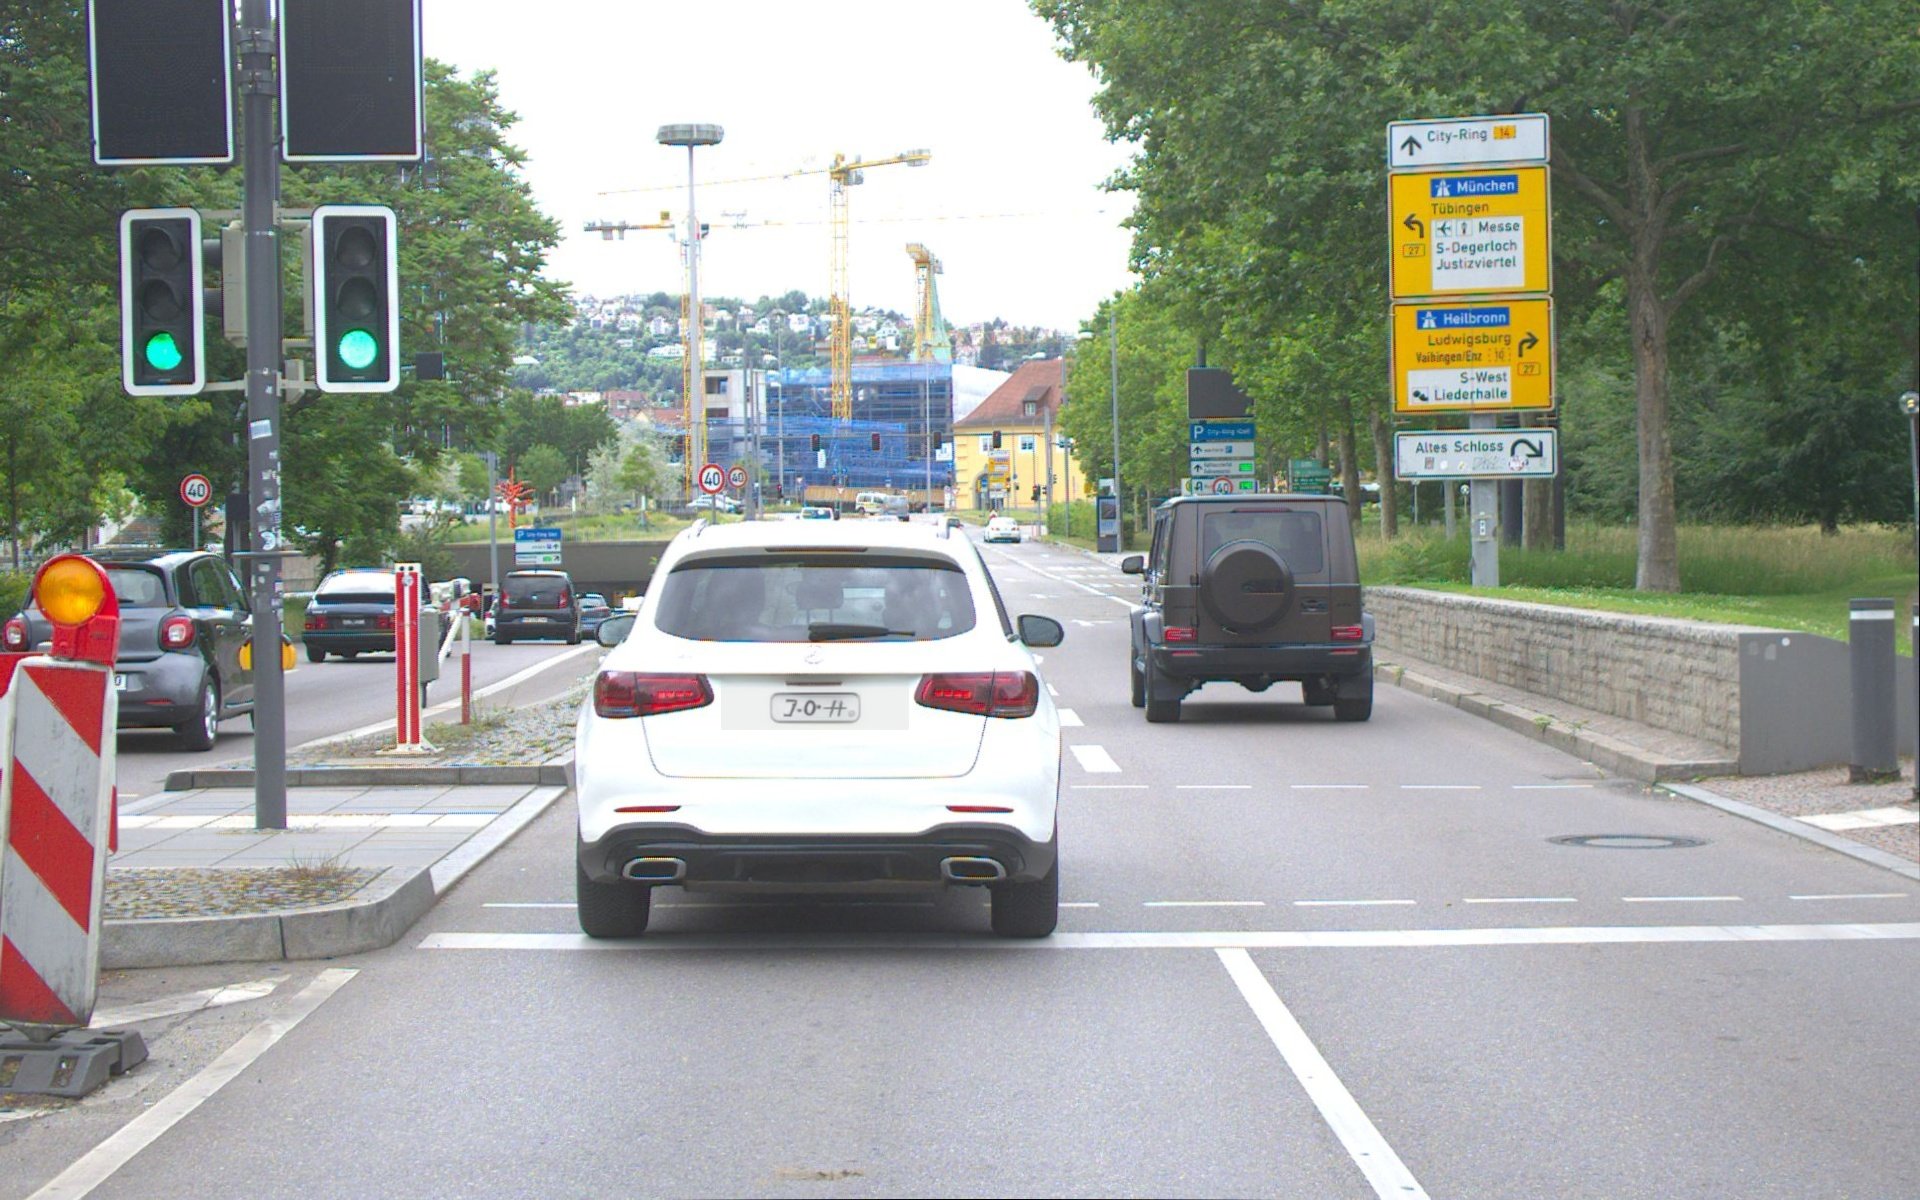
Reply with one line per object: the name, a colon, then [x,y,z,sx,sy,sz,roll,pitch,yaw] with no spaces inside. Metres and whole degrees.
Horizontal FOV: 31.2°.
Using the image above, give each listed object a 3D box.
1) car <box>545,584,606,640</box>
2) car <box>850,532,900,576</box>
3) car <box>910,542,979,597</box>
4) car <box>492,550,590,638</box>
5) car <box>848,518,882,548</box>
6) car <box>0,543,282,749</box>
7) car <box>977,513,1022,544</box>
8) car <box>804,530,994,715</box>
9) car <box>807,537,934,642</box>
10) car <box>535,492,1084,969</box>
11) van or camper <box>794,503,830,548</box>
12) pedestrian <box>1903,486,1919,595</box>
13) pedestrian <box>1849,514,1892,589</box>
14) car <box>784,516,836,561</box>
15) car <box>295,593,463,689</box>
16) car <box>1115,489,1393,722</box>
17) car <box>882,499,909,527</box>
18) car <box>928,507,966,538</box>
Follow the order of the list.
car: [-11.585,0.348,103.722,1.719,1.579,4.001,2,1,-5]
car: [-3.612,-1.926,145.721,1.993,1.774,4.000,2,0,-3]
car: [-0.516,-0.970,110.471,1.993,1.656,4.000,2,0,-3]
car: [-8.427,-0.143,69.401,1.719,1.673,4.001,2,1,-4]
car: [-5.285,-3.706,190.914,1.719,1.579,4.001,2,1,-4]
car: [-6.467,0.334,27.175,1.627,1.504,3.540,1,0,-2]
car: [2.202,-3.993,193.037,1.993,1.612,4.001,2,0,-7]
car: [-0.604,0.210,33.018,1.672,1.622,4.000,2,0,-2]
car: [-1.468,-0.191,54.883,1.922,1.596,4.001,0,1,-3]
car: [-0.646,0.469,14.441,1.940,1.678,4.000,2,0,-3]
van or camper: [-7.957,-3.998,184.877,1.922,2.312,4.000,0,-1,-3]
pedestrian: [15.597,-0.932,54.626,0.896,1.727,0.969,2,1,-2]
pedestrian: [16.458,-0.870,62.154,0.582,1.320,0.542,2,-1,-1]
car: [-6.185,-2.519,142.001,1.993,1.751,4.000,2,0,-1]
car: [-8.673,0.583,51.577,1.719,1.288,4.000,2,1,1]
car: [2.550,0.038,30.938,1.977,1.887,4.707,2,0,-1]
car: [-4.860,-6.541,258.198,1.800,2.007,4.000,2,0,-3]
car: [-0.705,-4.174,185.842,1.719,1.579,4.001,2,1,-4]
